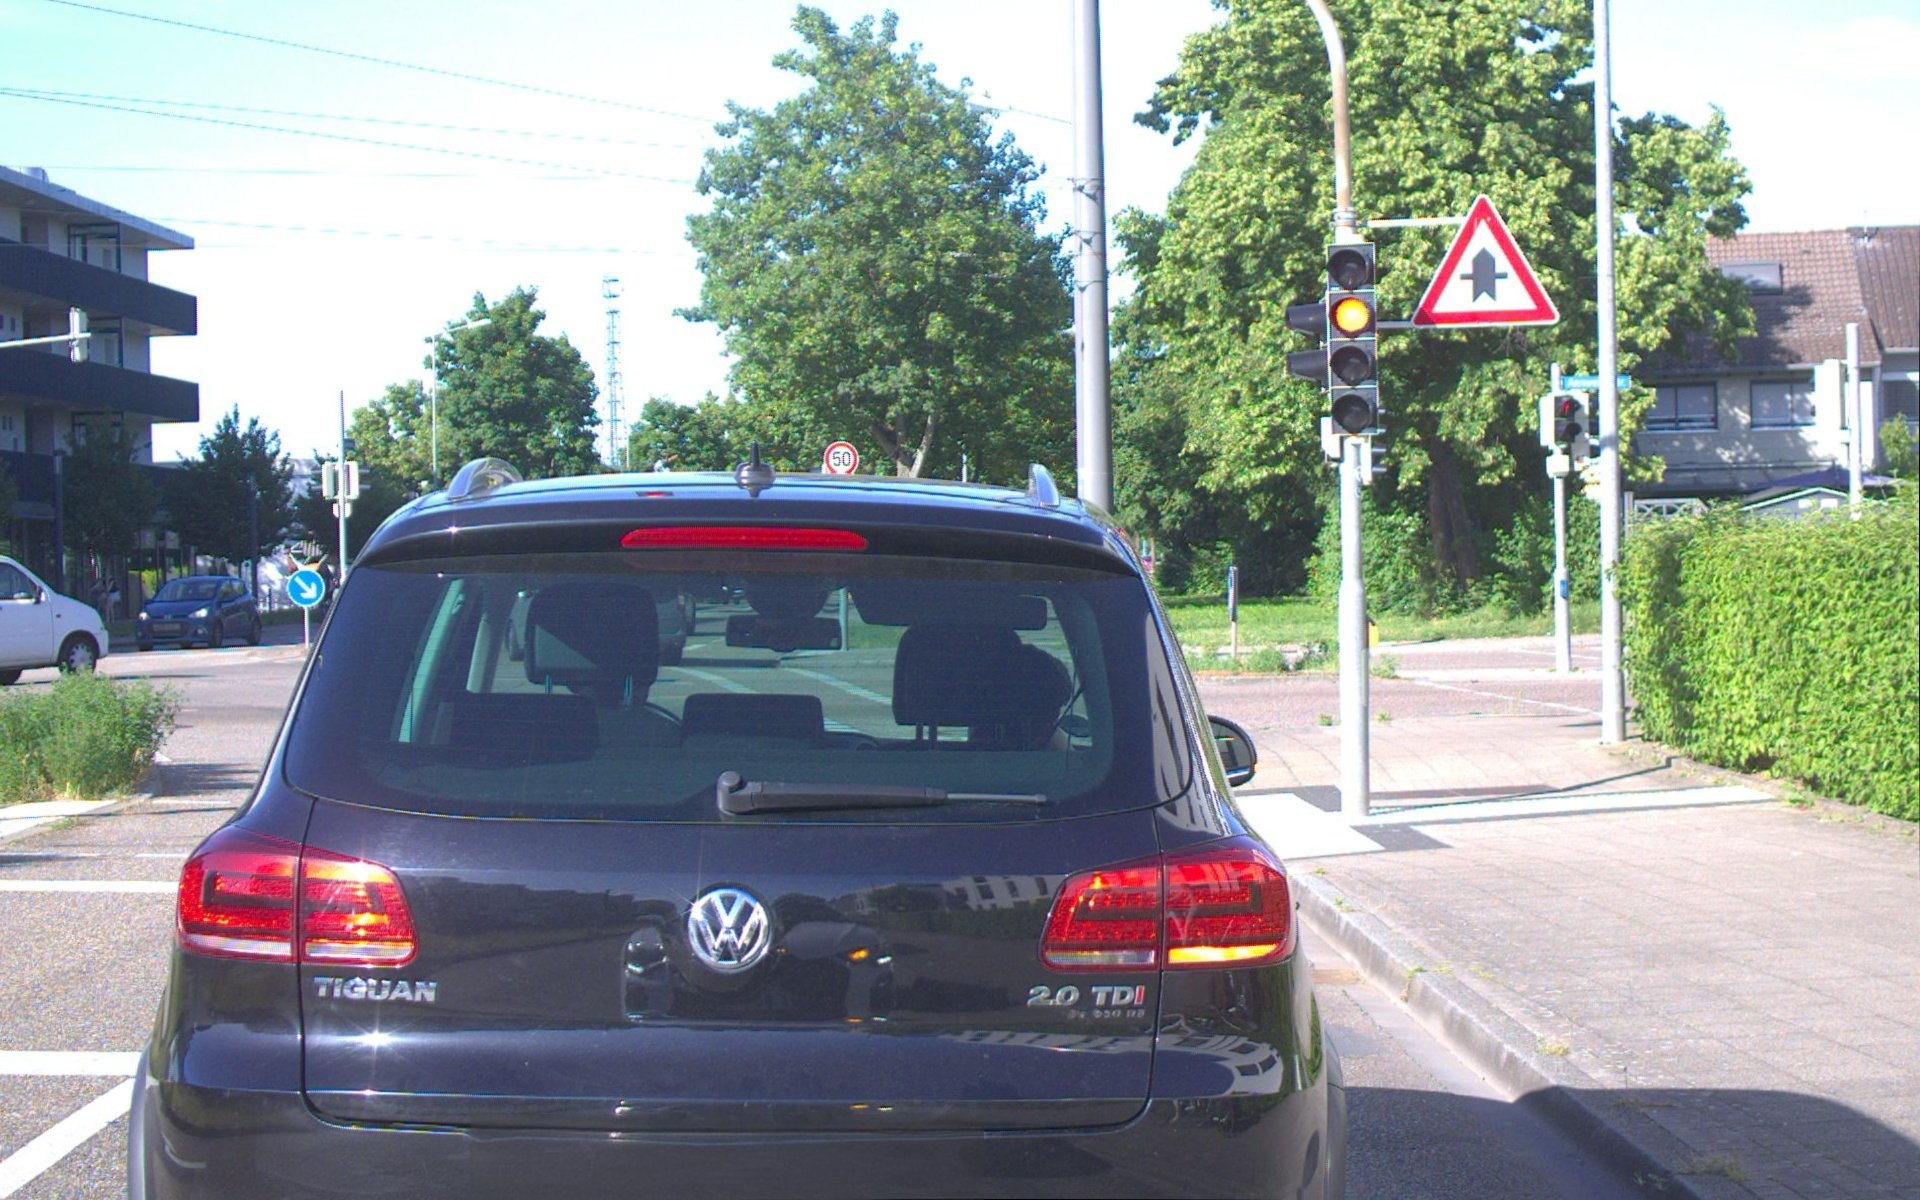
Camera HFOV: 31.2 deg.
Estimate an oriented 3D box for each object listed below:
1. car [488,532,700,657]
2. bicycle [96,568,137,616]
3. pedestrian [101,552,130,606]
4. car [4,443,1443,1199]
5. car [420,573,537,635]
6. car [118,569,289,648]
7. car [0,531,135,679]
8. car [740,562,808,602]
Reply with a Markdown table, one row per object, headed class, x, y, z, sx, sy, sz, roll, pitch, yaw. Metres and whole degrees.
| class | x | y | z | sx | sy | sz | roll | pitch | yaw |
| --- | --- | --- | --- | --- | --- | --- | --- | --- | --- |
| car | -5.671 | -0.103 | 52.860 | 1.993 | 1.830 | 4.001 | 1 | 1 | -26 |
| bicycle | -23.693 | -0.231 | 96.585 | 0.630 | 1.327 | 1.913 | 1 | 1 | 1 |
| pedestrian | -23.694 | -0.584 | 96.436 | 0.642 | 1.504 | 0.596 | 1 | 0 | 0 |
| car | -0.336 | 0.603 | 6.500 | 1.869 | 1.632 | 4.000 | 1 | 1 | -1 |
| car | -12.651 | 0.095 | 90.617 | 1.994 | 1.569 | 4.338 | 1 | 1 | 7 |
| car | -15.671 | 0.149 | 71.441 | 1.994 | 1.569 | 4.337 | 1 | 1 | 9 |
| car | -11.876 | 0.059 | 40.744 | 1.868 | 1.714 | 3.678 | 0 | 1 | 40 |
| car | -7.468 | -0.744 | 138.376 | 1.994 | 1.569 | 4.338 | 1 | 1 | 7 |
